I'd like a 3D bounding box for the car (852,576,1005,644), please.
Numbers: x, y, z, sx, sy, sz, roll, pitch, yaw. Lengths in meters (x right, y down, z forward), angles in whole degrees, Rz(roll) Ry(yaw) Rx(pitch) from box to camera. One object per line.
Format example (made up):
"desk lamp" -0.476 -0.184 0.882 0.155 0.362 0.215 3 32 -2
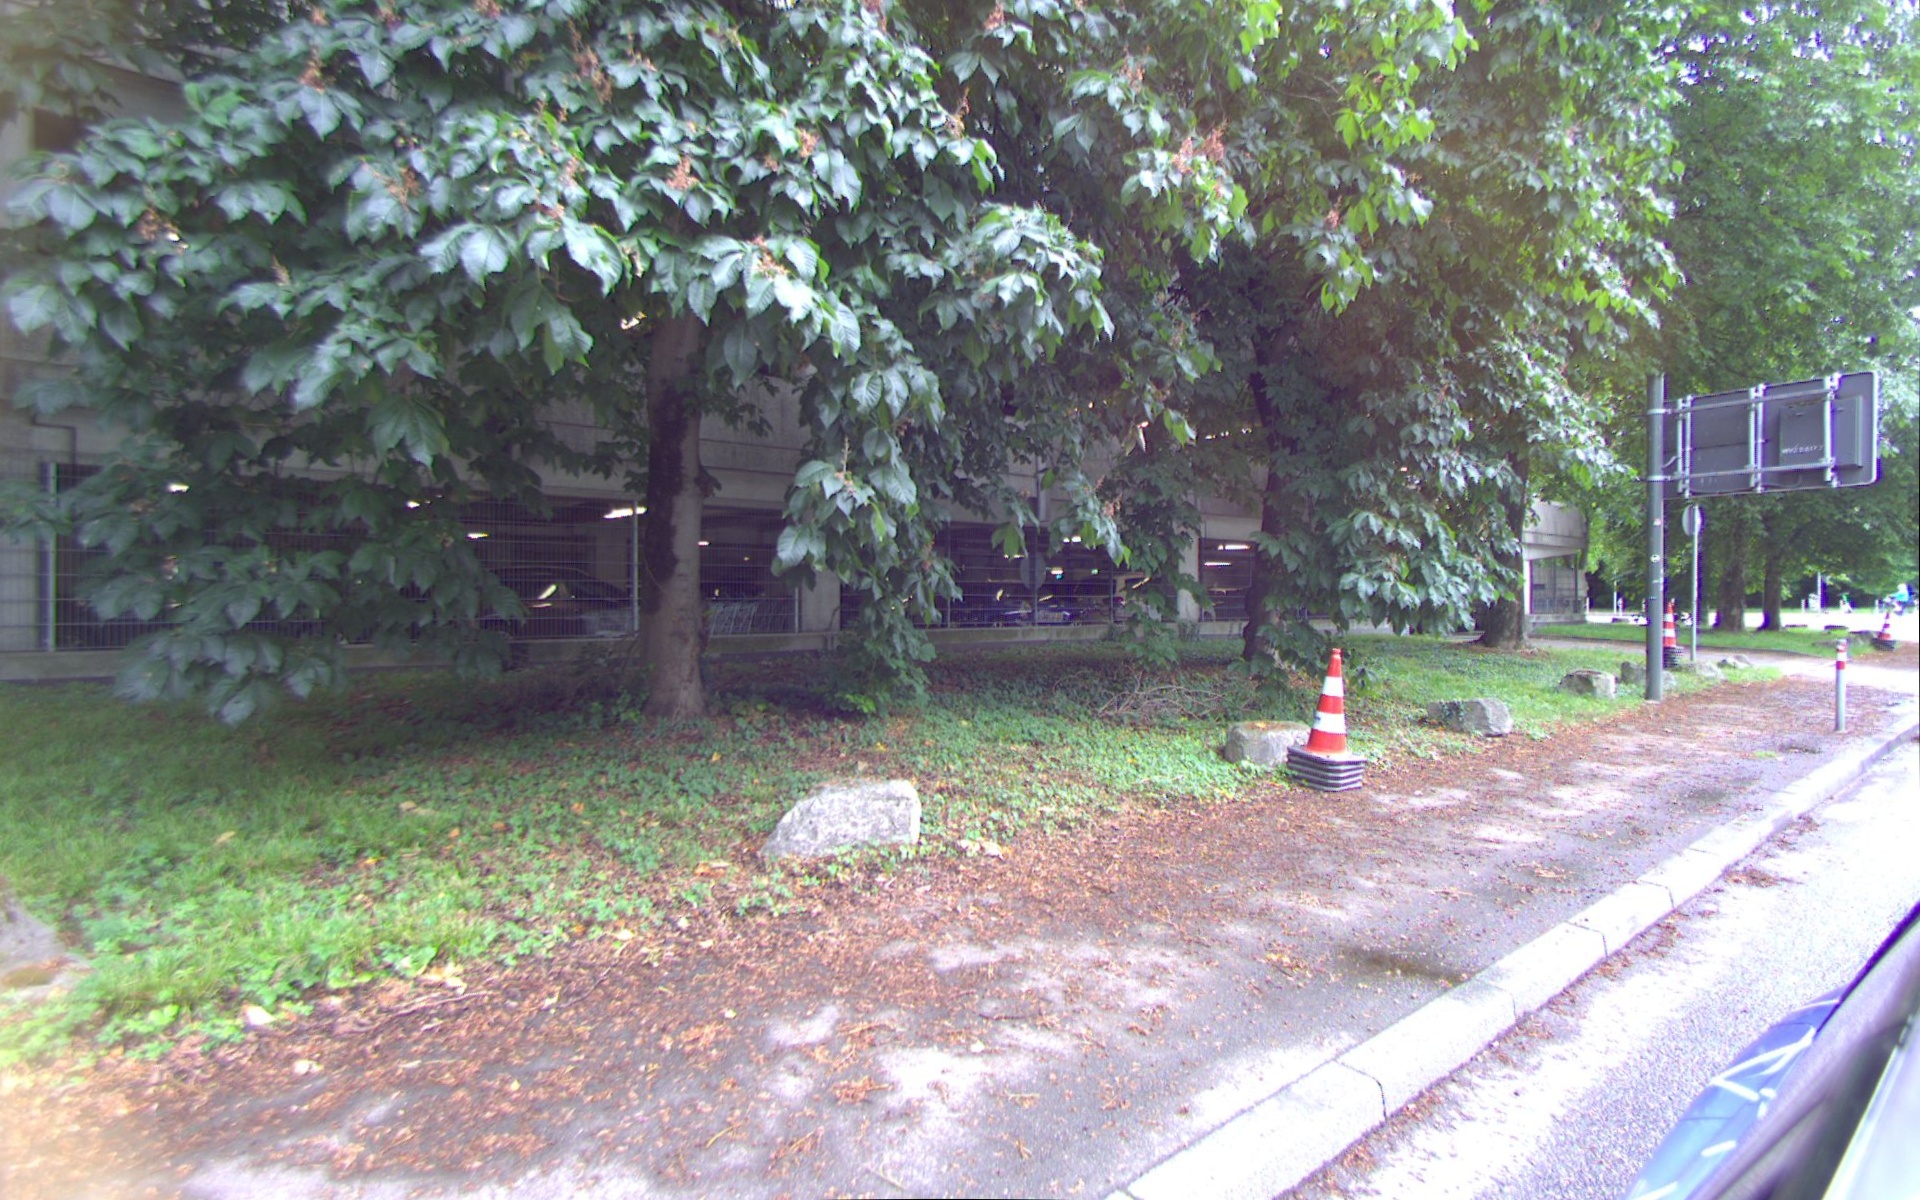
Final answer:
"car" -0.761 0.225 25.800 3.639 1.565 1.718 -2 1 -42

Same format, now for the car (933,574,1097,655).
"car" 1.354 0.293 23.807 3.791 1.730 1.588 -2 0 -41

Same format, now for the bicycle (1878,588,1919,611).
"bicycle" 47.229 -0.015 50.328 0.736 1.137 2.252 -2 0 -44

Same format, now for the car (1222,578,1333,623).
"car" 11.363 0.008 36.145 3.927 1.471 1.876 -2 1 -38

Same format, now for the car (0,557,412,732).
"car" -10.332 0.471 13.896 4.594 2.039 1.996 -2 0 -41

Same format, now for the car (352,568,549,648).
"car" -11.443 0.136 22.847 3.639 1.627 1.718 -2 1 -42

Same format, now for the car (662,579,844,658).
"car" -4.588 0.361 22.700 3.639 1.565 1.718 -2 1 -42

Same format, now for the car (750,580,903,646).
"car" -3.449 0.291 26.543 3.639 1.565 1.718 -2 1 -42

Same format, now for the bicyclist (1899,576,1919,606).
"bicyclist" 47.370 -0.438 50.186 0.731 1.448 1.156 -2 0 -44

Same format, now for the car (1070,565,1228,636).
"car" 5.076 -0.029 26.820 4.587 1.730 1.588 -2 0 -41

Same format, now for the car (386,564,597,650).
"car" -9.755 0.107 21.203 3.639 1.627 1.718 -2 1 -42

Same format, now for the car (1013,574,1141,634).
"car" 3.449 0.082 29.414 3.629 1.606 1.718 -2 1 -42

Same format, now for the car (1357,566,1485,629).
"car" 14.545 -0.082 31.808 4.653 1.858 1.922 -1 0 -41

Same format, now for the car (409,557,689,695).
"car" -6.871 0.344 17.083 3.929 2.039 1.997 -2 0 -40

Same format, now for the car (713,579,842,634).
"car" -5.715 0.175 31.860 3.638 1.565 1.719 -2 1 -41
